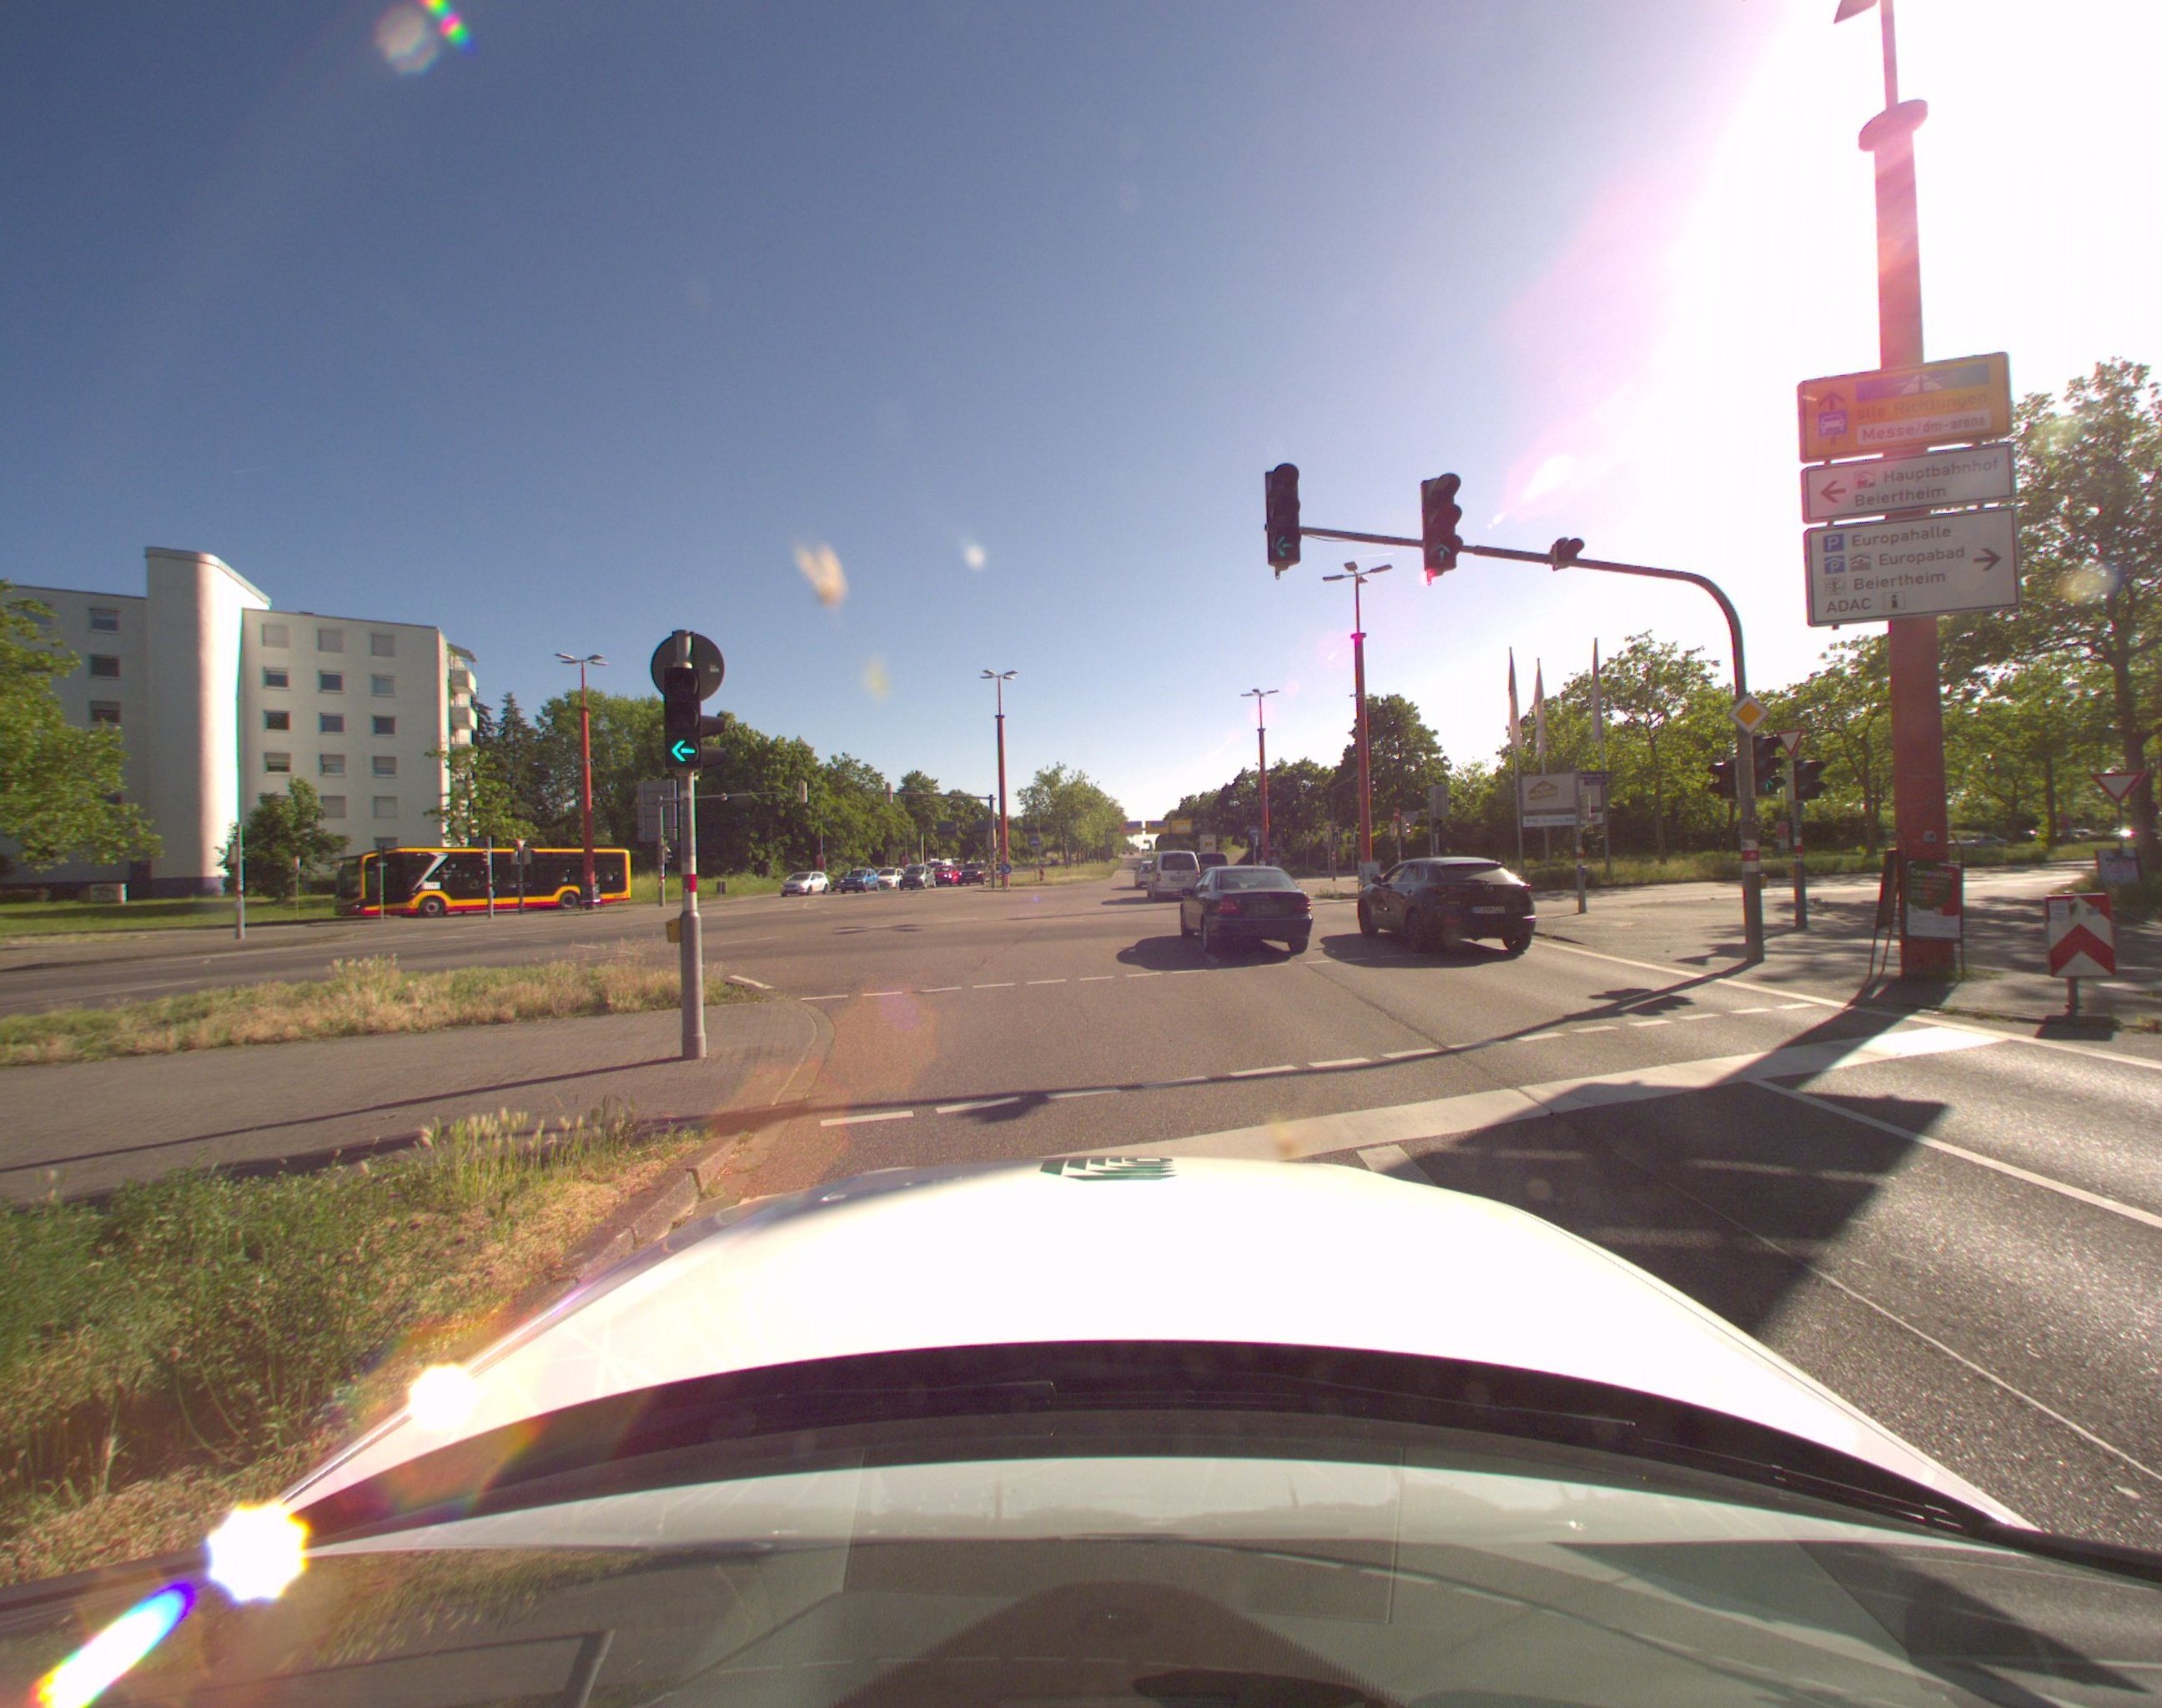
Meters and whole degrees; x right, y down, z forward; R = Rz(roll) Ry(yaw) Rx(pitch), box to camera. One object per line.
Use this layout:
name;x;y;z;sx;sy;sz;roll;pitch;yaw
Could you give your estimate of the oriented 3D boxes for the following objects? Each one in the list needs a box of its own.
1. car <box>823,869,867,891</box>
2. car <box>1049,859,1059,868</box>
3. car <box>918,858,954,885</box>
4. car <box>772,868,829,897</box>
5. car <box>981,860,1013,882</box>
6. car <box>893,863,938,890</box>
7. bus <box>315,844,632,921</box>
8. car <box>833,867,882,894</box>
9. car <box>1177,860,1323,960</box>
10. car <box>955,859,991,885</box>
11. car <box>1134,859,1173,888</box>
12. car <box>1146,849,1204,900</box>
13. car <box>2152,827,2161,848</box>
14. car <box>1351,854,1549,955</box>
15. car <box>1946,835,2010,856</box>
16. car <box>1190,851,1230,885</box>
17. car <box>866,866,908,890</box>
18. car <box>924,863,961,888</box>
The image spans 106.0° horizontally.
car;-17.465;1.911;60.530;1.877;1.513;4.003;-3;-1;3
car;-5.834;2.024;175.750;1.908;1.846;3.963;-2;-1;2
car;-12.610;1.480;71.146;1.954;2.155;5.083;-2;-1;2
car;-17.569;1.769;51.268;1.869;1.652;4.222;-3;-1;3
car;-6.579;1.296;64.001;1.878;1.543;4.002;-3;-1;2
car;-10.618;1.434;52.537;1.867;1.550;4.029;-3;0;2
bus;-29.309;1.279;40.532;2.620;3.261;12.612;-1;-1;30
car;-14.061;1.633;51.462;1.794;1.515;3.861;-3;-1;2
car;2.833;0.871;14.539;1.707;1.454;4.197;-2;0;0
car;-7.443;1.241;56.538;1.787;1.626;4.144;-3;0;1
car;3.862;1.034;43.879;1.798;1.493;4.683;0;-1;1
car;3.556;0.763;31.538;1.798;1.821;4.587;-1;-1;1
car;83.065;-1.263;61.143;4.219;1.508;1.764;0;-1;-15
car;6.262;0.795;14.398;1.760;1.508;4.228;0;-1;3
car;69.244;-0.631;62.870;4.137;1.517;1.854;0;-1;-20
car;7.800;0.829;49.523;1.797;1.852;5.106;-2;0;3
car;-13.686;1.677;57.607;1.895;1.555;4.000;-3;-1;0
car;-9.977;1.523;58.862;1.869;1.552;4.000;-5;-1;1
